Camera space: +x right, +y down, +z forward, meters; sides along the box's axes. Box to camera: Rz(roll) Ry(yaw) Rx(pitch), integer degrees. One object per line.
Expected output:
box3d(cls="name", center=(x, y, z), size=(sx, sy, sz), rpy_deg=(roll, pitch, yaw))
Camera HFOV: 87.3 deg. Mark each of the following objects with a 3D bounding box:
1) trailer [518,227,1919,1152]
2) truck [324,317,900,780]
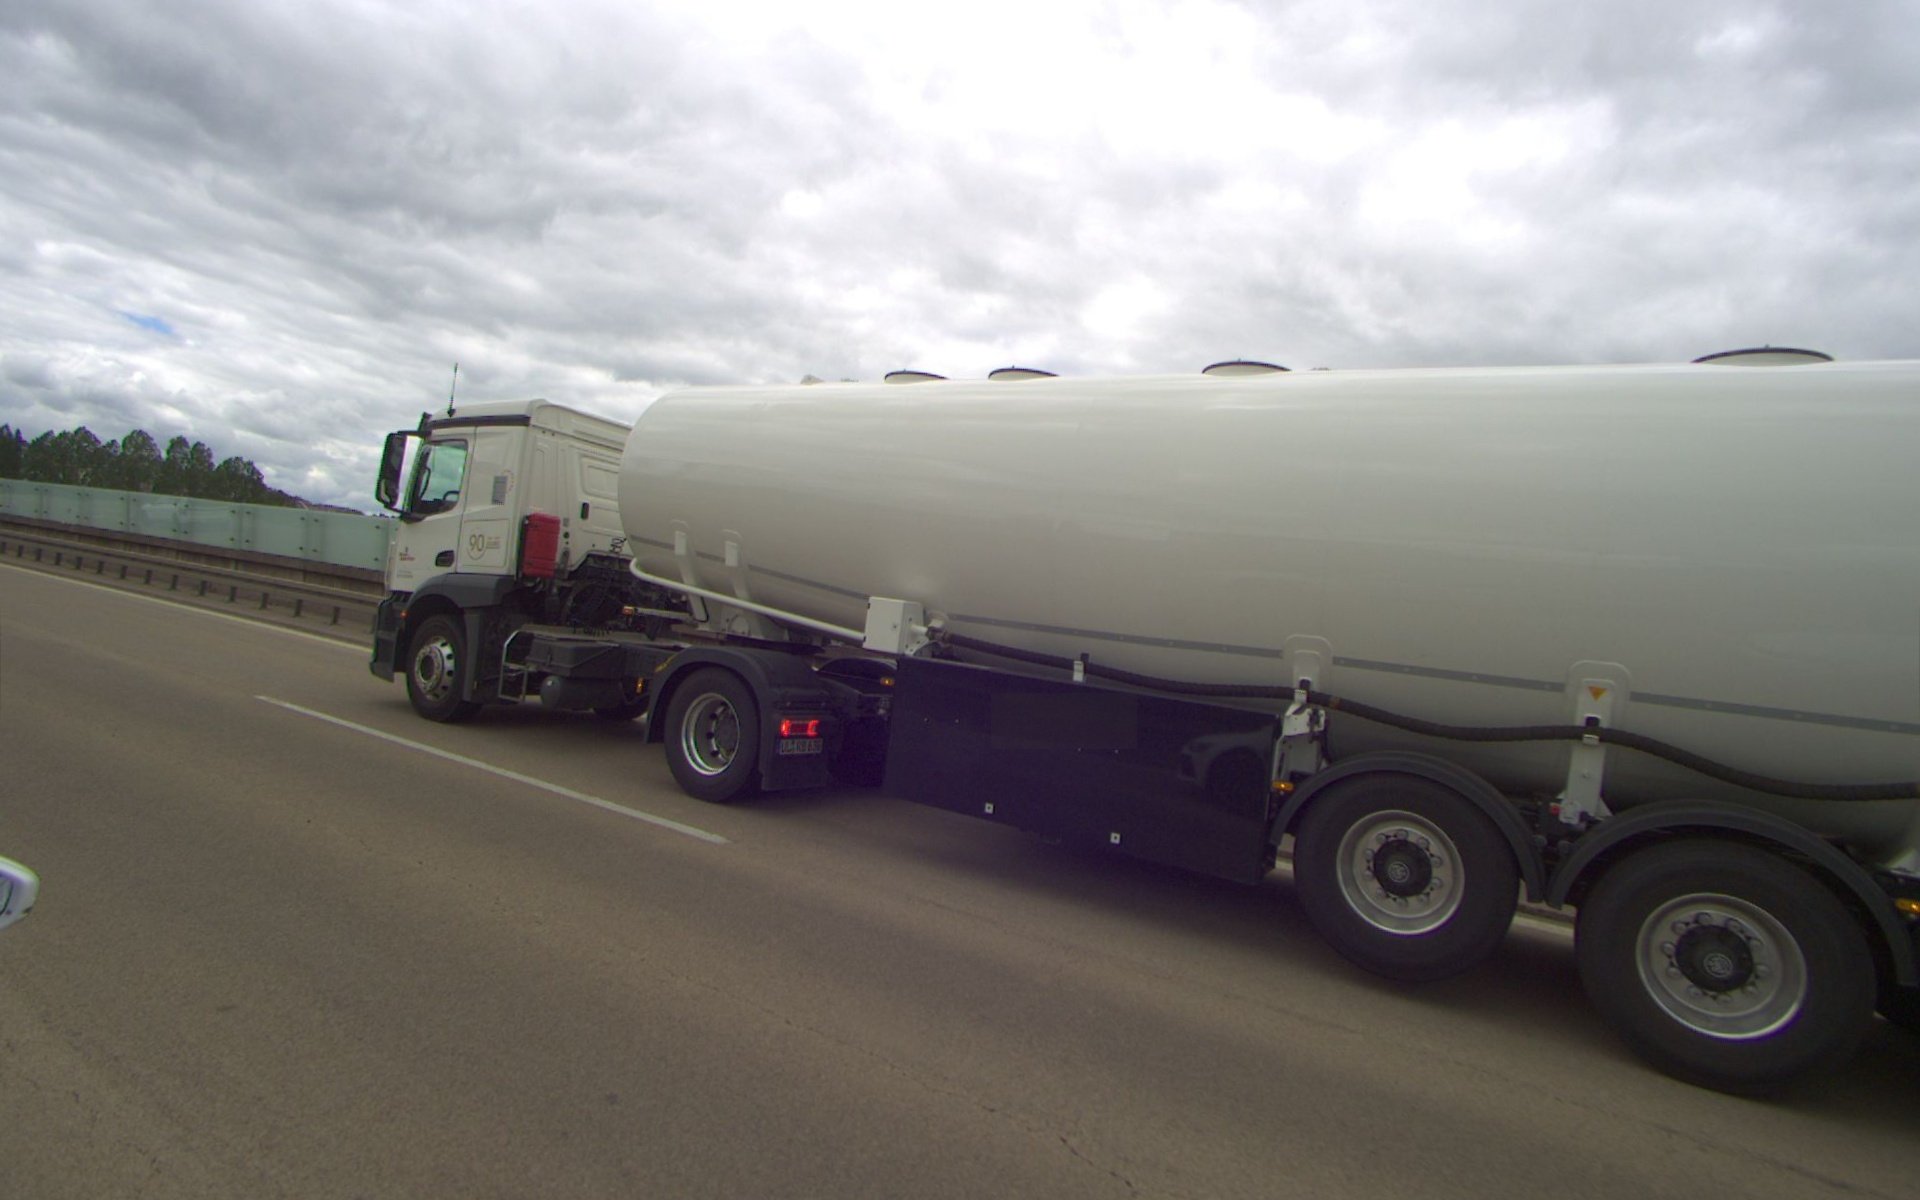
box3d(cls="trailer", center=(1.857, 0.146, 6.656), size=(11.034, 3.585, 2.655), rpy_deg=(6, -1, 32))
box3d(cls="truck", center=(-3.523, -0.507, 10.068), size=(4.822, 3.555, 2.635), rpy_deg=(7, -1, 32))
